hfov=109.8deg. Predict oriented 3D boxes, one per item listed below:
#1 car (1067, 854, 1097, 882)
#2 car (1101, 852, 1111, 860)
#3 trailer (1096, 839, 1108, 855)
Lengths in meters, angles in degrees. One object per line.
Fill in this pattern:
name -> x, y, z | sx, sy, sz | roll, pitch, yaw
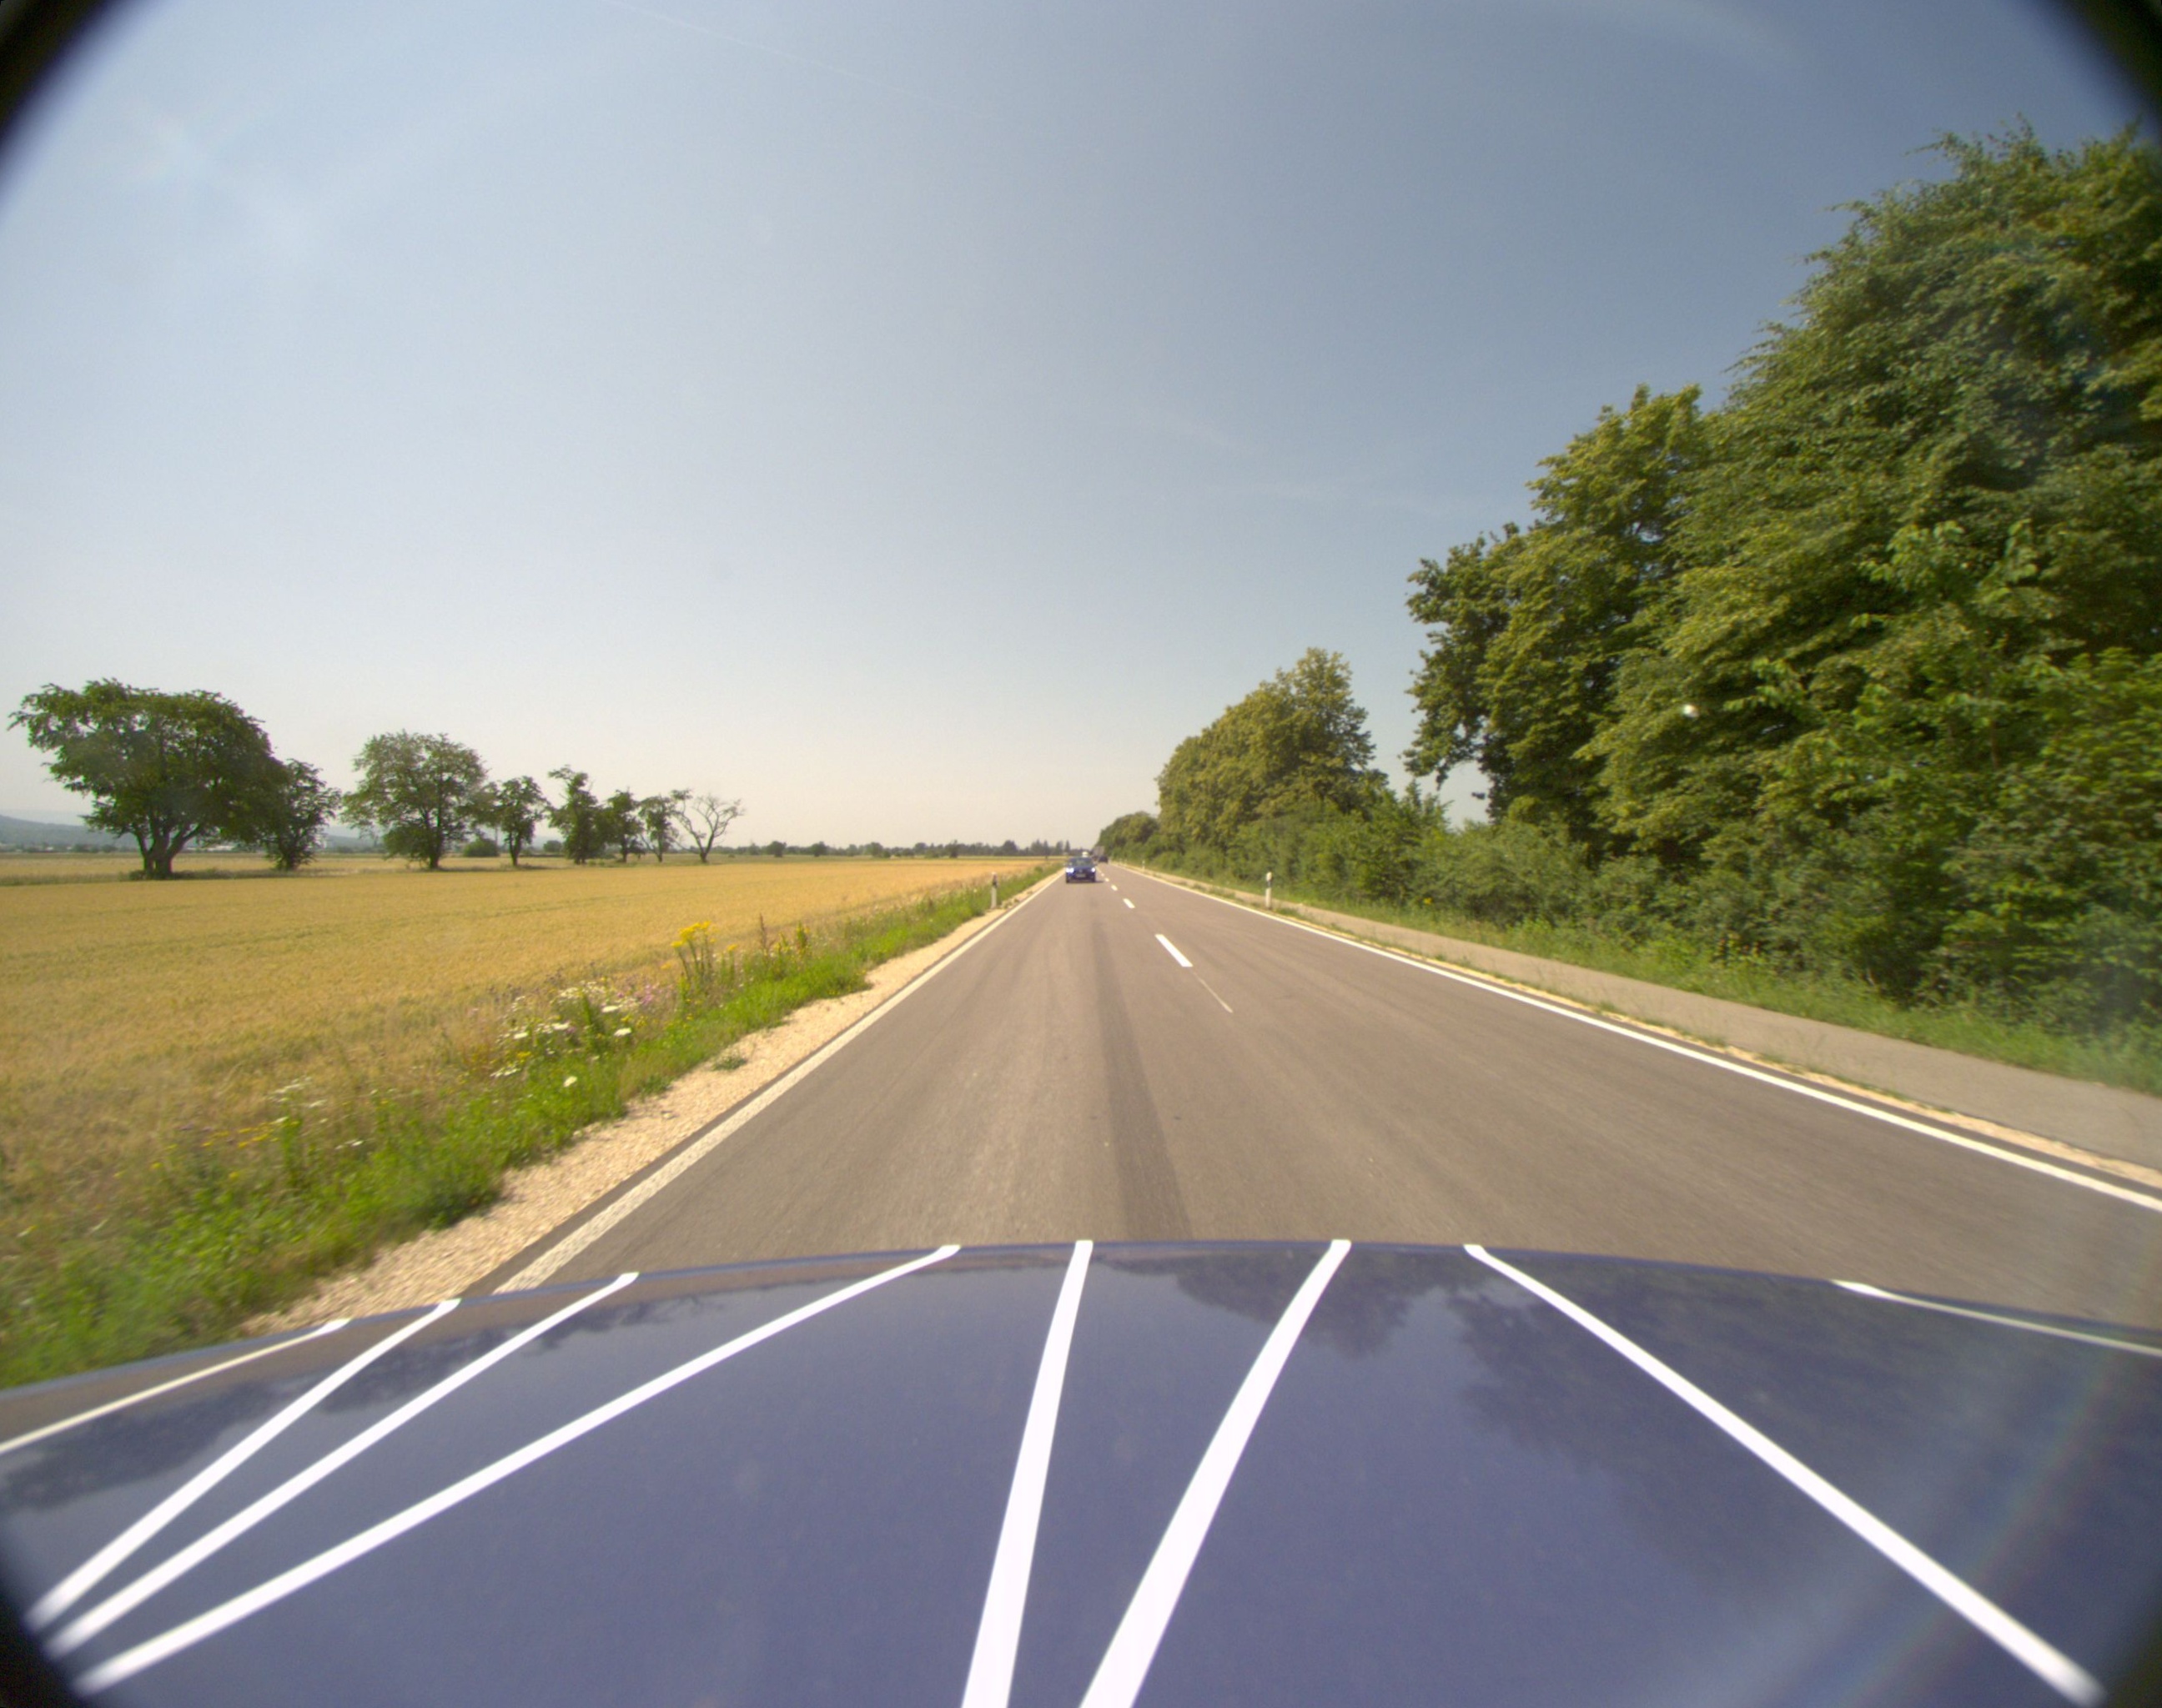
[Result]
car -> 0.076, 0.815, 44.877 | 1.662, 1.509, 3.999 | -1, 0, 0
car -> 4.778, 0.428, 145.944 | 1.796, 1.565, 4.478 | 1, 0, 0
trailer -> 5.369, -1.826, 193.579 | 2.660, 3.954, 13.353 | 1, 0, 1
